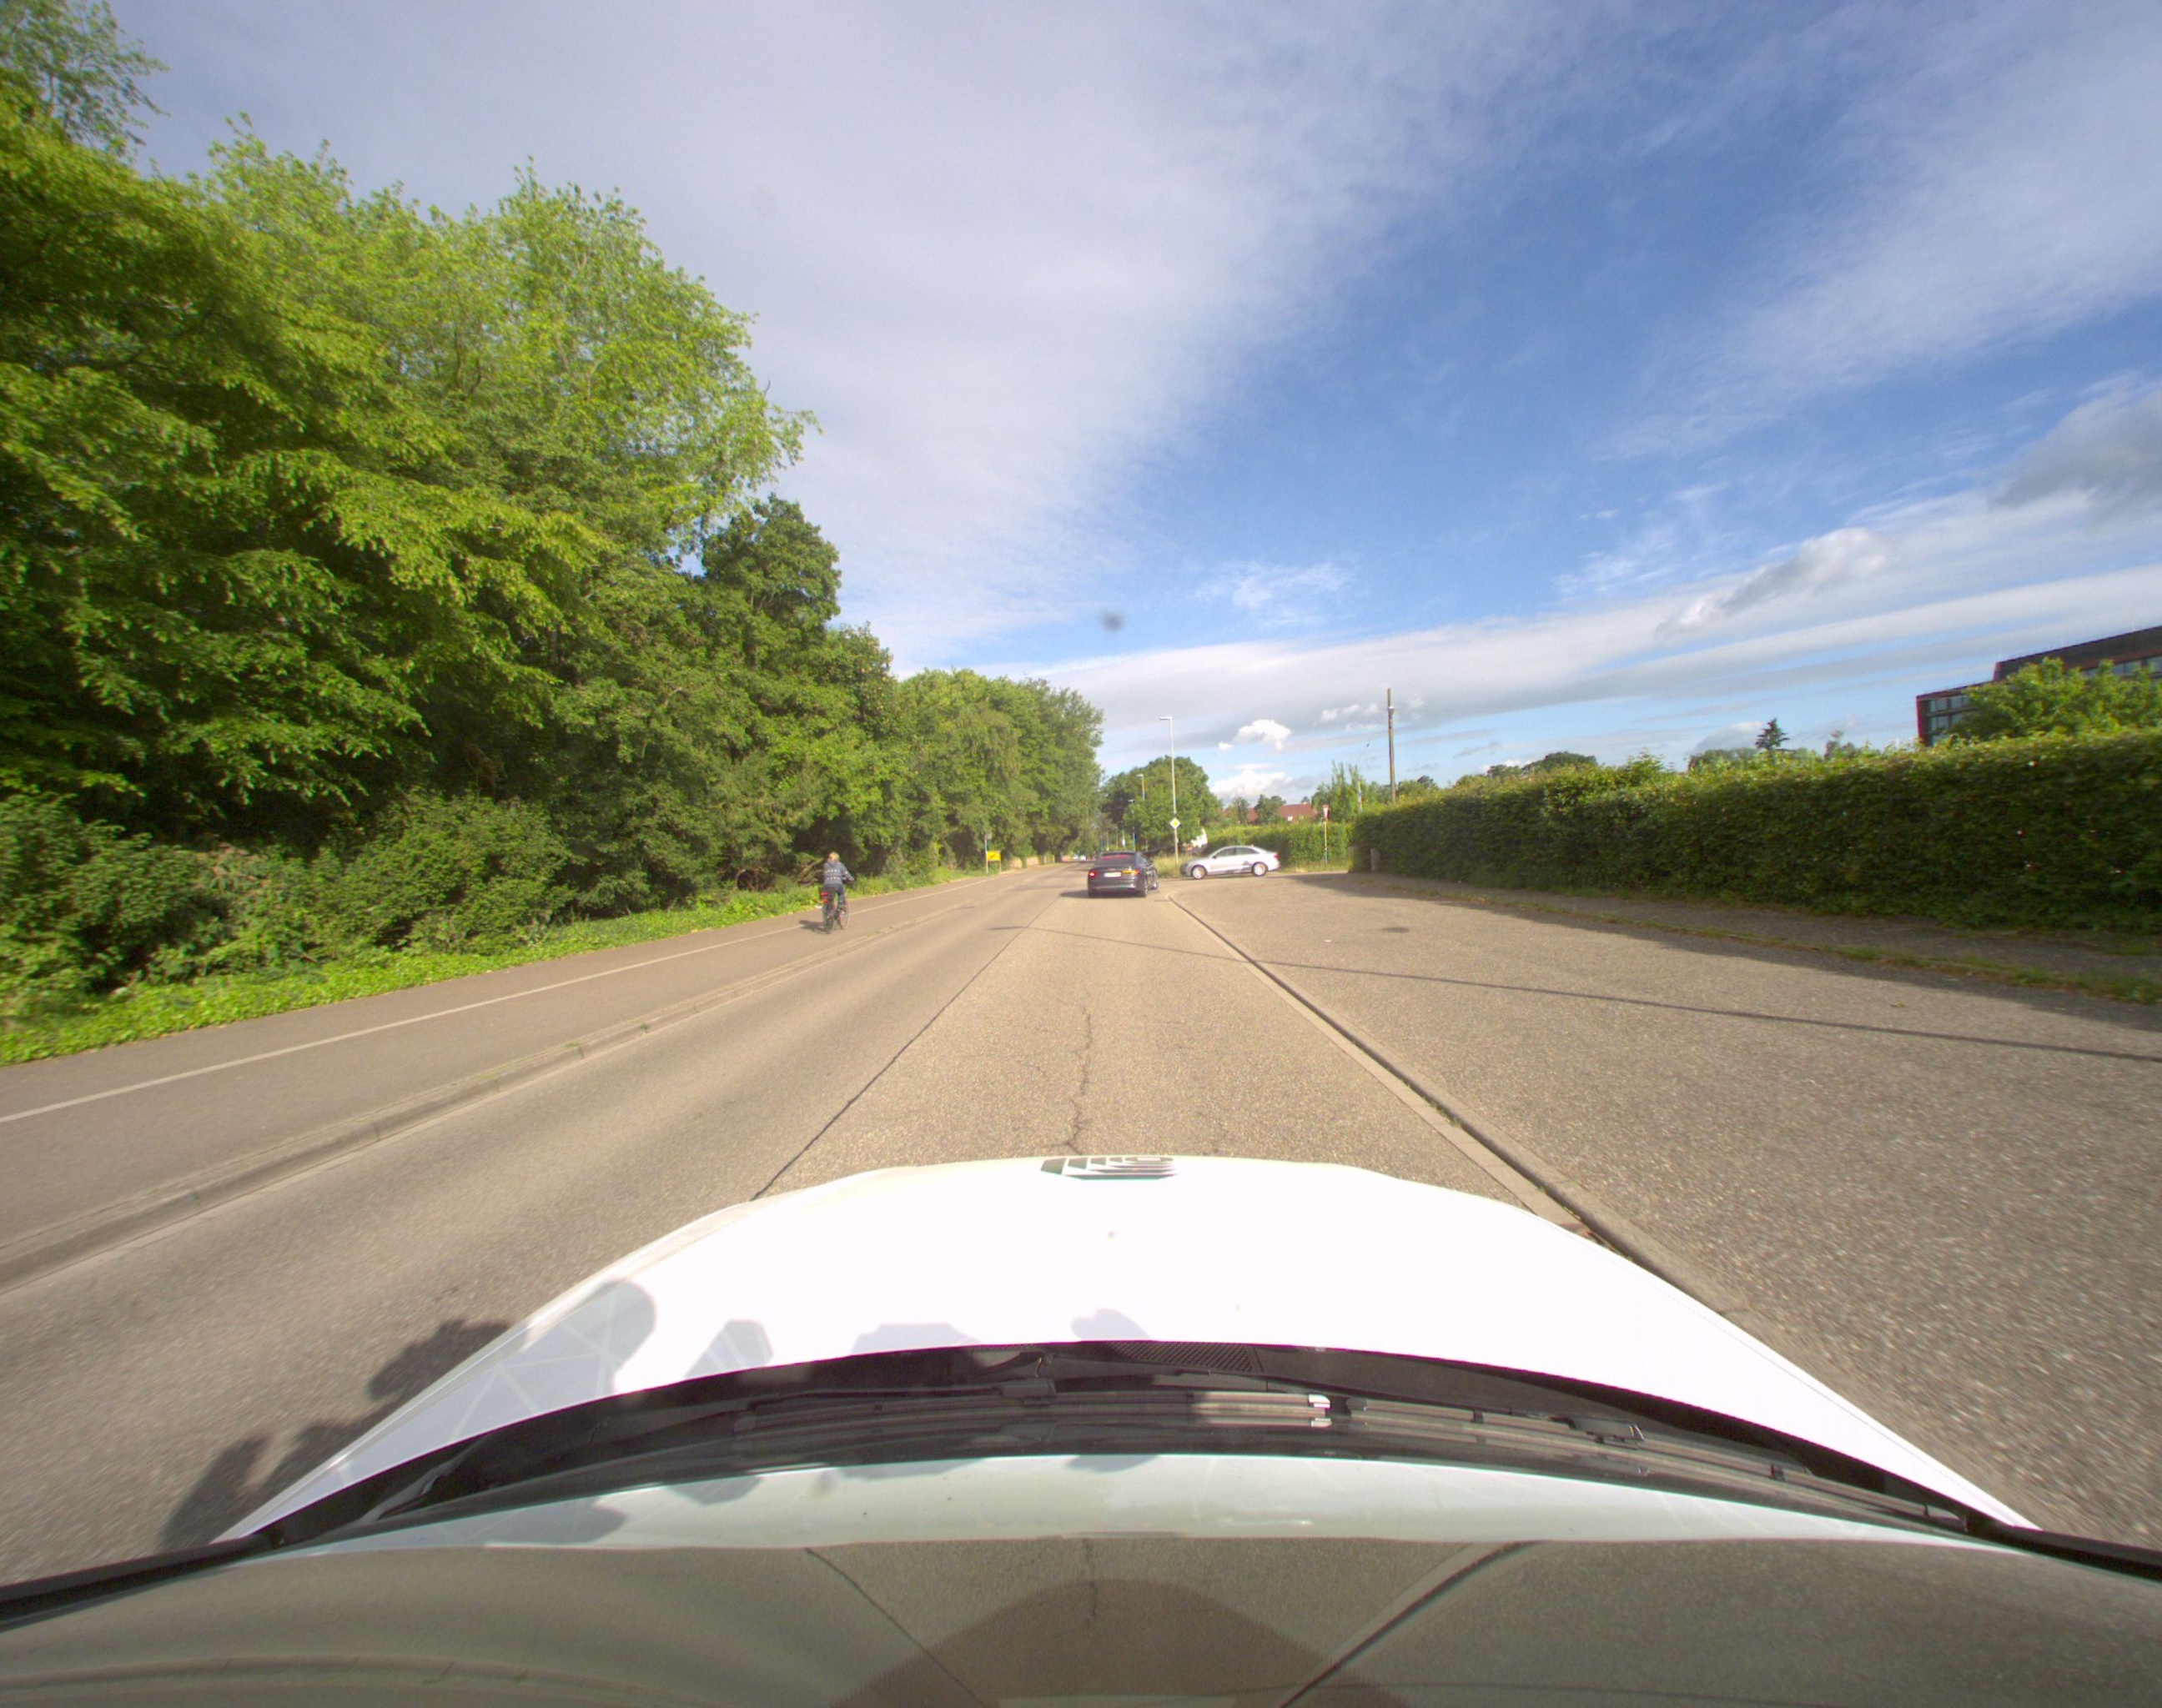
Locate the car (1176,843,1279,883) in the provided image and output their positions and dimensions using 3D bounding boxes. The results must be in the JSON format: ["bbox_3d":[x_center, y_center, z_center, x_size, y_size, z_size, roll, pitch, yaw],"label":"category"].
[{"bbox_3d":[6.455,0.403,36.160,4.338,1.443,1.937,-4,-1,8],"label":"car"}]

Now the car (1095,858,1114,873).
[{"bbox_3d":[2.430,1.157,85.609,1.880,1.465,4.055,-3,0,1],"label":"car"}]

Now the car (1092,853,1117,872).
[{"bbox_3d":[1.819,0.697,65.003,1.880,1.372,4.055,-3,0,1],"label":"car"}]

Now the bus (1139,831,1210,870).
[{"bbox_3d":[7.505,-0.293,66.030,5.350,2.746,2.067,-4,0,-2],"label":"bus"}]

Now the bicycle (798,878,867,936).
[{"bbox_3d":[-5.315,1.096,17.588,0.660,1.097,2.350,-1,0,2],"label":"bicycle"}]

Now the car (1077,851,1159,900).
[{"bbox_3d":[1.317,0.636,26.585,1.953,1.434,4.350,-2,0,12],"label":"car"}]

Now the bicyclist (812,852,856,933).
[{"bbox_3d":[-5.315,0.805,17.544,0.606,1.677,0.884,-1,0,2],"label":"bicyclist"}]
